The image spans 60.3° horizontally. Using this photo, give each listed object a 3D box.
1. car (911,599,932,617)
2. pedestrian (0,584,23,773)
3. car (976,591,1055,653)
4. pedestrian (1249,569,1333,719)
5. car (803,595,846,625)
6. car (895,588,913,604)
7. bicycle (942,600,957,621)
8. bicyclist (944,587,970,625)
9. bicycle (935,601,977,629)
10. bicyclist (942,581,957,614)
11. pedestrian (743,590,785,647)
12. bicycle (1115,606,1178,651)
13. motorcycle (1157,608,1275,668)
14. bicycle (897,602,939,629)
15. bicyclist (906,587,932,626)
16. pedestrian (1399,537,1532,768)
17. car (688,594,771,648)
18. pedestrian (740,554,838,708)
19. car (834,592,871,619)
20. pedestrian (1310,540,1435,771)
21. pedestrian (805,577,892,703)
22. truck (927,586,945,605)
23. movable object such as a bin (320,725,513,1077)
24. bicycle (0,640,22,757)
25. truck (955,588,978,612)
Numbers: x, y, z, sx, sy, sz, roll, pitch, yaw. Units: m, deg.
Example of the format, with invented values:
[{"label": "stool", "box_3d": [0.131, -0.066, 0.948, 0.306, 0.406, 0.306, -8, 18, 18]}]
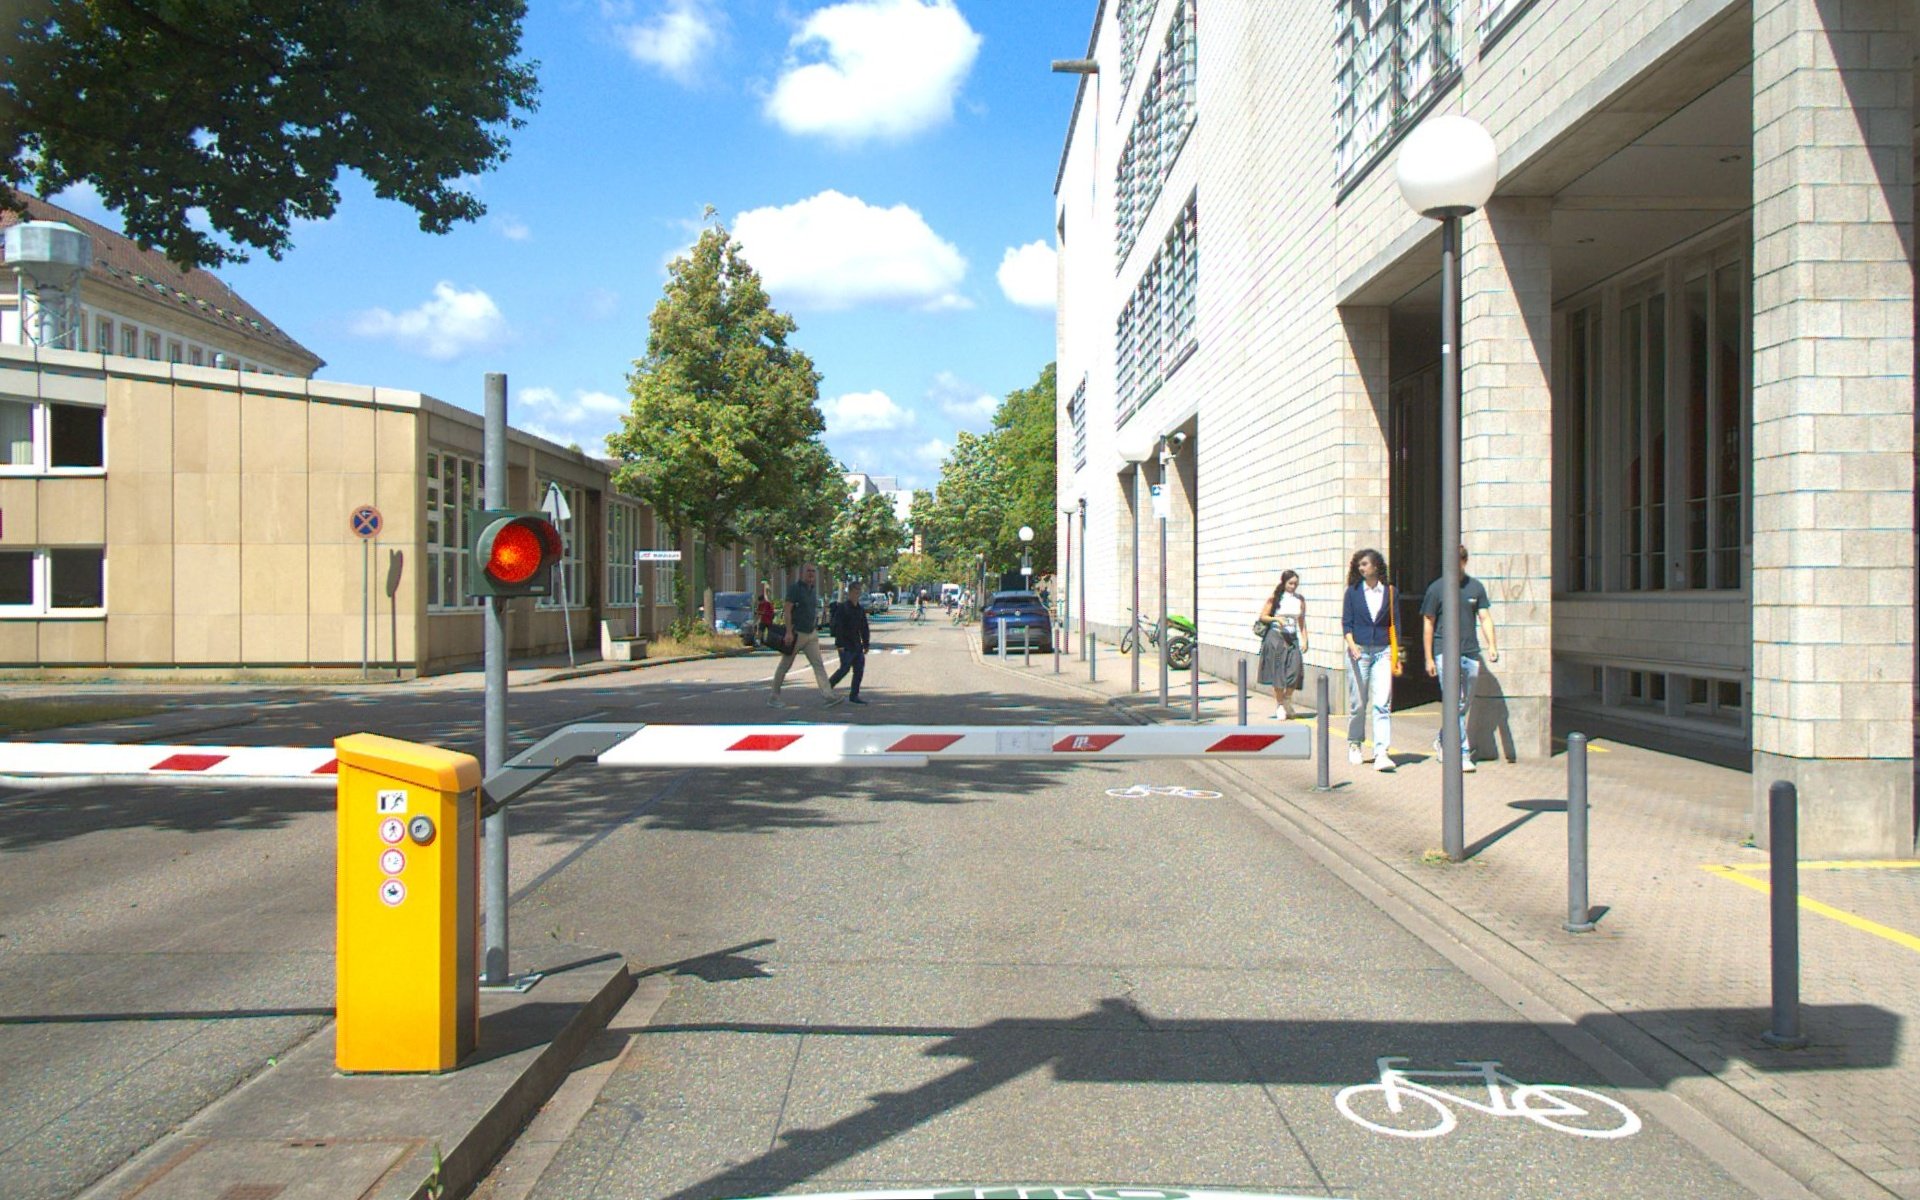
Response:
[{"label": "car", "box_3d": [-4.137, 0.859, 177.082, 1.952, 1.751, 4.001, -1, -2, 2]}, {"label": "pedestrian", "box_3d": [-8.617, 0.675, 14.057, 0.837, 1.614, 0.805, 0, 0, -2]}, {"label": "car", "box_3d": [1.412, 0.545, 43.717, 1.953, 1.573, 4.212, 0, 0, 0]}, {"label": "pedestrian", "box_3d": [3.801, 0.488, 19.067, 0.726, 1.661, 0.887, -2, 0, -2]}, {"label": "car", "box_3d": [-7.246, 0.530, 88.596, 1.953, 1.573, 4.212, 0, 0, 0]}, {"label": "car", "box_3d": [-6.894, -0.475, 205.469, 1.952, 1.751, 4.001, -1, -2, 2]}, {"label": "bicycle", "box_3d": [-0.705, 0.696, 112.072, 0.967, 1.339, 2.963, 0, -2, -1]}, {"label": "bicyclist", "box_3d": [-0.170, 0.318, 84.015, 0.975, 1.917, 1.027, 0, -2, -27]}, {"label": "bicycle", "box_3d": [-0.235, 0.782, 84.100, 0.975, 1.339, 2.939, 0, -2, -26]}, {"label": "bicyclist", "box_3d": [-0.729, -0.181, 112.112, 0.967, 2.169, 1.036, 0, -2, -1]}, {"label": "pedestrian", "box_3d": [-5.801, 0.541, 49.024, 0.876, 1.661, 0.886, 0, -1, 27]}, {"label": "bicycle", "box_3d": [4.584, 0.693, 40.689, 1.511, 1.085, 0.648, -1, 0, 7]}, {"label": "motorcycle", "box_3d": [4.799, 0.719, 31.040, 2.079, 1.040, 0.660, -2, -2, 1]}, {"label": "bicycle", "box_3d": [-2.134, 0.794, 83.765, 0.975, 1.339, 2.939, 0, -2, -26]}, {"label": "bicyclist", "box_3d": [-2.073, 0.332, 83.688, 0.975, 1.917, 1.027, 0, -2, -27]}, {"label": "pedestrian", "box_3d": [4.139, 0.414, 13.608, 0.751, 1.811, 0.910, -2, 0, -2]}, {"label": "car", "box_3d": [-7.051, 0.612, 50.892, 1.953, 1.573, 4.212, 0, 0, 0]}, {"label": "pedestrian", "box_3d": [-2.235, 0.402, 21.594, 0.992, 1.959, 0.879, 1, -1, -30]}, {"label": "car", "box_3d": [-6.527, 0.328, 100.997, 1.953, 1.573, 4.212, 0, 0, 0]}, {"label": "pedestrian", "box_3d": [3.388, 0.432, 13.660, 0.681, 1.811, 1.085, -2, 1, -2]}, {"label": "pedestrian", "box_3d": [-1.511, 0.530, 22.350, 0.884, 1.661, 0.879, 1, -1, -30]}, {"label": "truck", "box_3d": [-2.880, -0.557, 198.599, 2.188, 2.339, 4.840, 0, 0, -1]}, {"label": "movable object such as a bin", "box_3d": [-1.523, 0.828, 4.664, 0.407, 0.921, 0.353, 0, 0, 4]}, {"label": "bicycle", "box_3d": [-9.186, 0.931, 14.712, 0.632, 1.067, 1.900, 0, 1, -1]}, {"label": "truck", "box_3d": [0.579, 0.005, 148.641, 1.953, 2.049, 3.998, 0, -2, -2]}]
